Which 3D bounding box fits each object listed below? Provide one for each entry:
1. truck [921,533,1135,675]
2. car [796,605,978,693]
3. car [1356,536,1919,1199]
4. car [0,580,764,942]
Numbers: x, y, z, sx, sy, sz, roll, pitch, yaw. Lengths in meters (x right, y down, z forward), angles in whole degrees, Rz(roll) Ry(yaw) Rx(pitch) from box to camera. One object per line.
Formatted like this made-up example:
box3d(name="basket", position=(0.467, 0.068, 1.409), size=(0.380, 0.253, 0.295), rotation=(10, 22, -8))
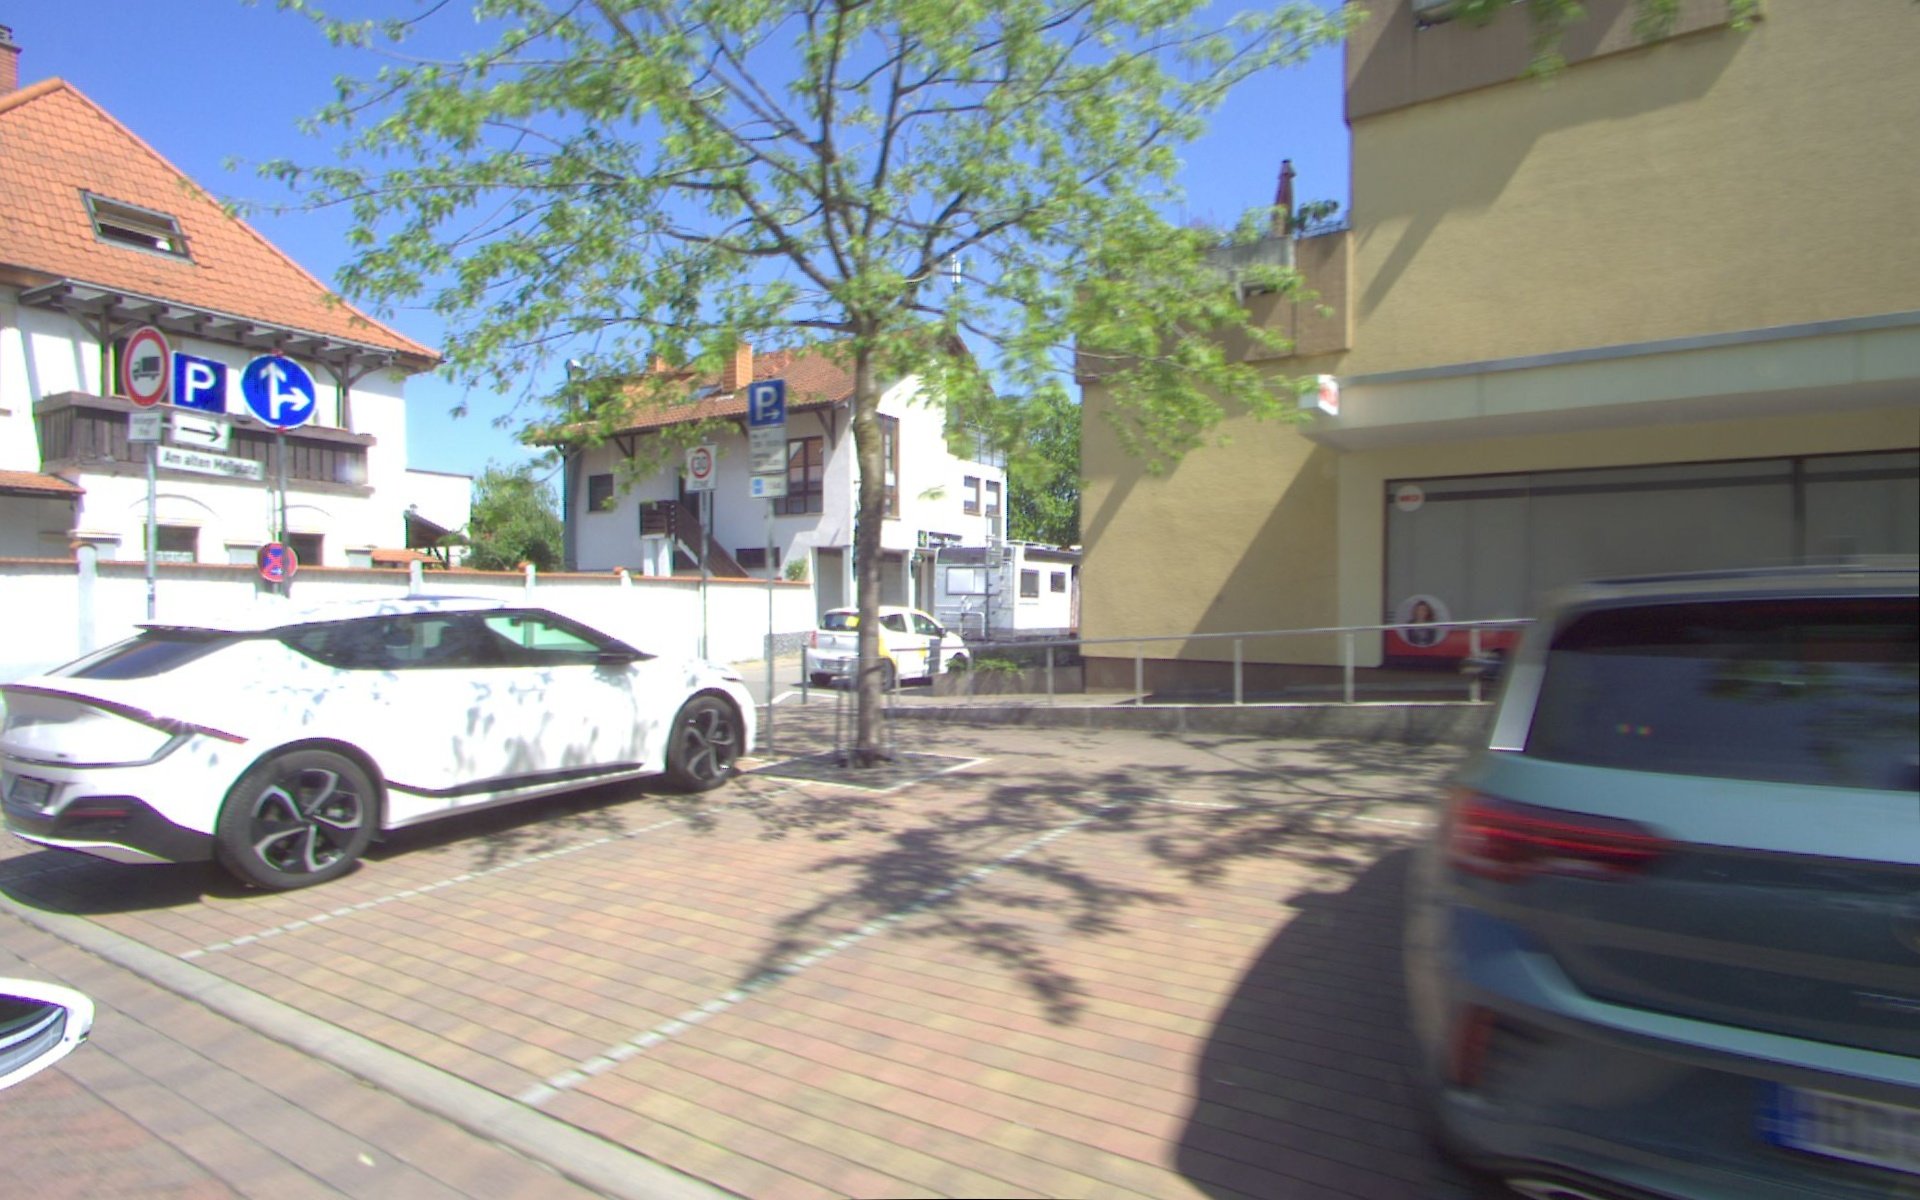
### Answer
box3d(name="truck", position=(1.893, 0.113, 24.807), size=(2.509, 3.045, 6.370), rotation=(0, 0, 33))
box3d(name="car", position=(-1.289, 0.838, 19.028), size=(1.631, 1.471, 3.607), rotation=(1, 1, 32))
box3d(name="car", position=(2.547, 0.625, 3.167), size=(1.797, 1.555, 3.935), rotation=(0, 2, 31))
box3d(name="car", position=(-3.535, 0.687, 6.835), size=(1.763, 1.597, 4.430), rotation=(0, 2, 32))
